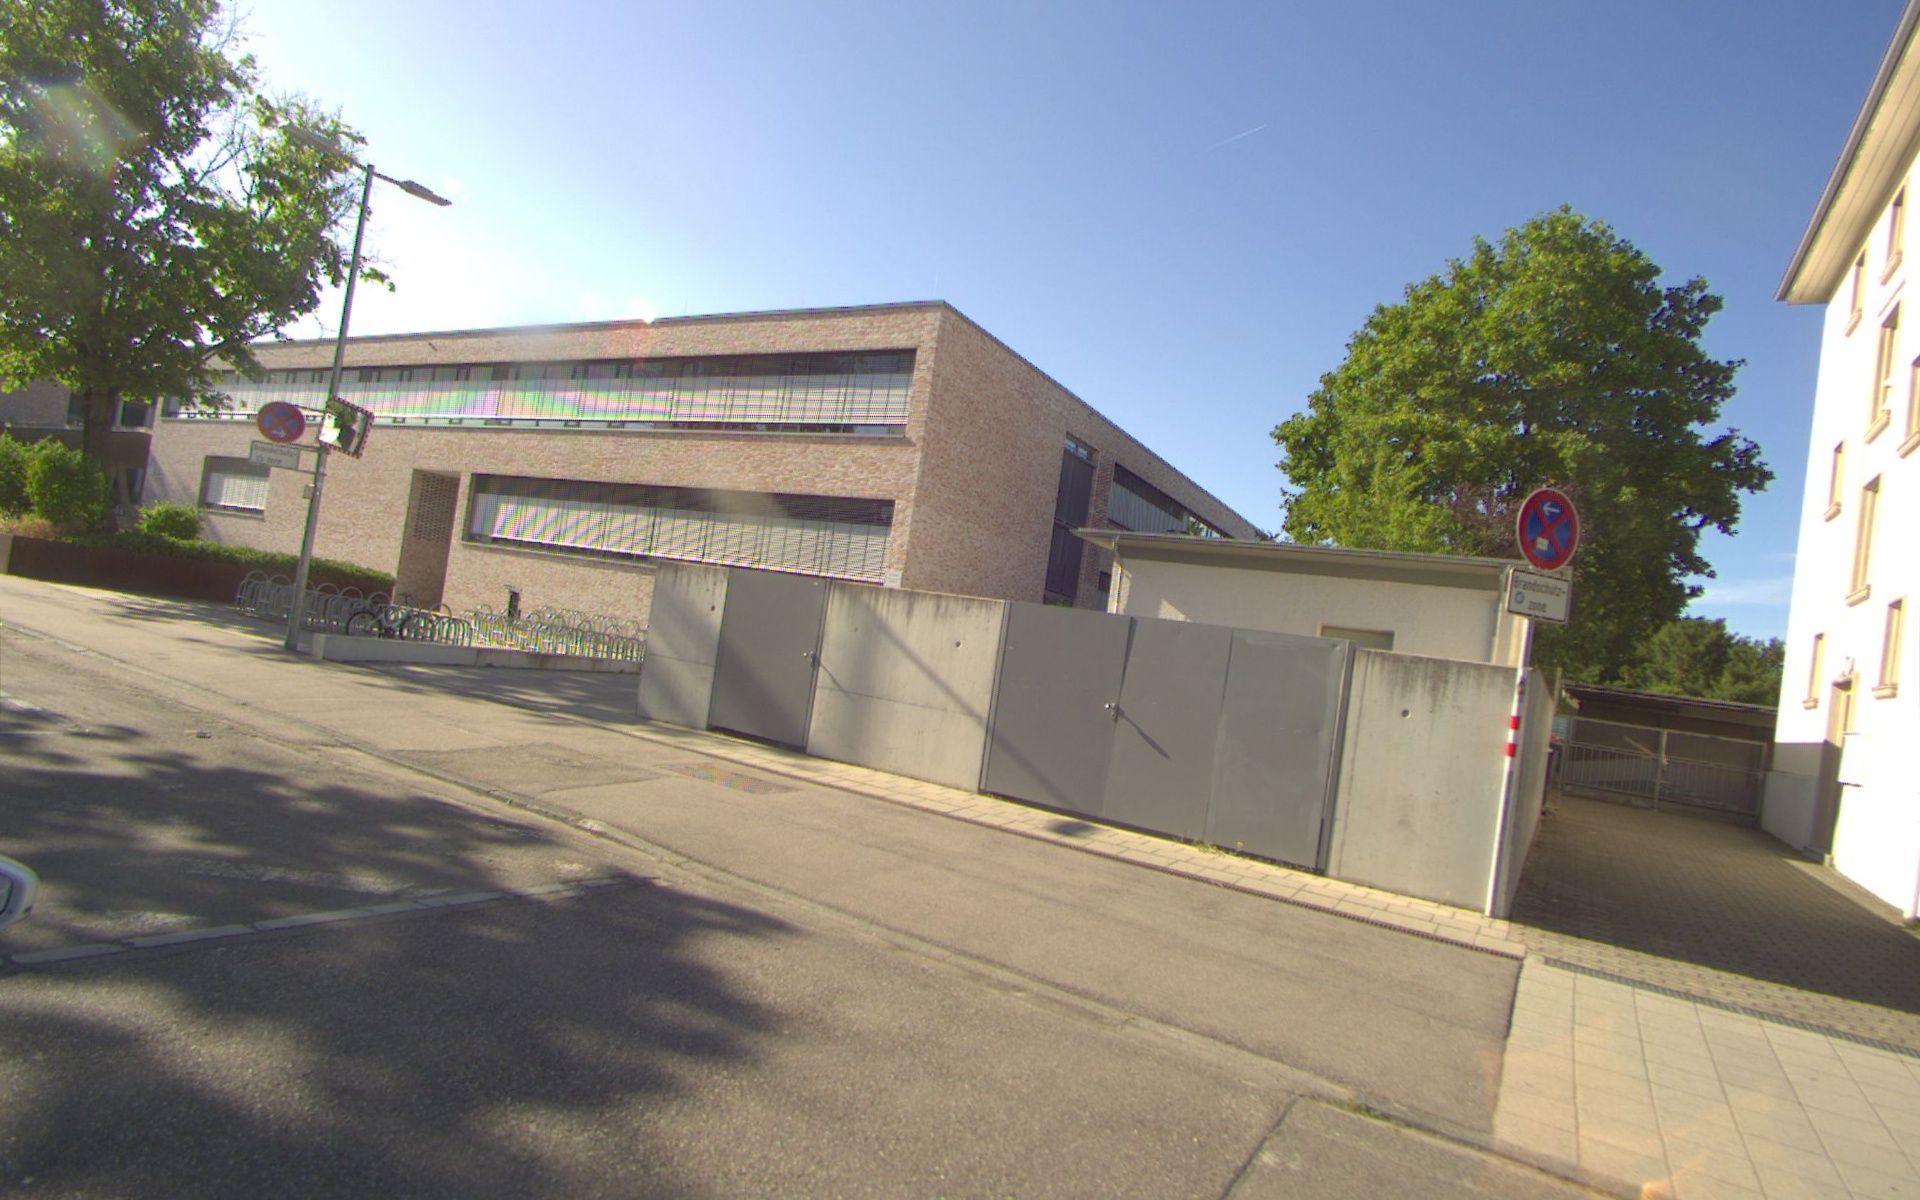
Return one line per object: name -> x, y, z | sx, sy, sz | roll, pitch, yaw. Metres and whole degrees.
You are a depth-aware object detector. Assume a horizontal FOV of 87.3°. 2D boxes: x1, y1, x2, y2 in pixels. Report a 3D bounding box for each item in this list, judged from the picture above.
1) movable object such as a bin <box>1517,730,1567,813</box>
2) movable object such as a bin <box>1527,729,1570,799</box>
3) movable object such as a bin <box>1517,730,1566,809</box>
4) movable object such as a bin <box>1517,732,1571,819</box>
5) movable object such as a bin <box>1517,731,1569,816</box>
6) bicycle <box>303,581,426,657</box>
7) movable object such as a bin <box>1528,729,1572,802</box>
movable object such as a bin -> 9.546, 2.798, 16.507 | 0.583, 1.226, 0.488 | 7, -1, 32
movable object such as a bin -> 11.335, 3.140, 19.378 | 0.583, 1.226, 0.488 | 7, -1, 32
movable object such as a bin -> 9.855, 2.859, 17.050 | 0.583, 1.226, 0.488 | 7, -1, 32
movable object such as a bin -> 9.007, 2.690, 15.516 | 0.583, 1.226, 0.488 | 7, -1, 32
movable object such as a bin -> 9.284, 2.745, 16.012 | 0.583, 1.226, 0.488 | 7, -1, 32
bicycle -> -10.146, 0.347, 17.208 | 0.491, 1.040, 1.674 | 7, -4, 30
movable object such as a bin -> 10.989, 3.071, 18.742 | 0.583, 1.226, 0.488 | 7, -1, 32
